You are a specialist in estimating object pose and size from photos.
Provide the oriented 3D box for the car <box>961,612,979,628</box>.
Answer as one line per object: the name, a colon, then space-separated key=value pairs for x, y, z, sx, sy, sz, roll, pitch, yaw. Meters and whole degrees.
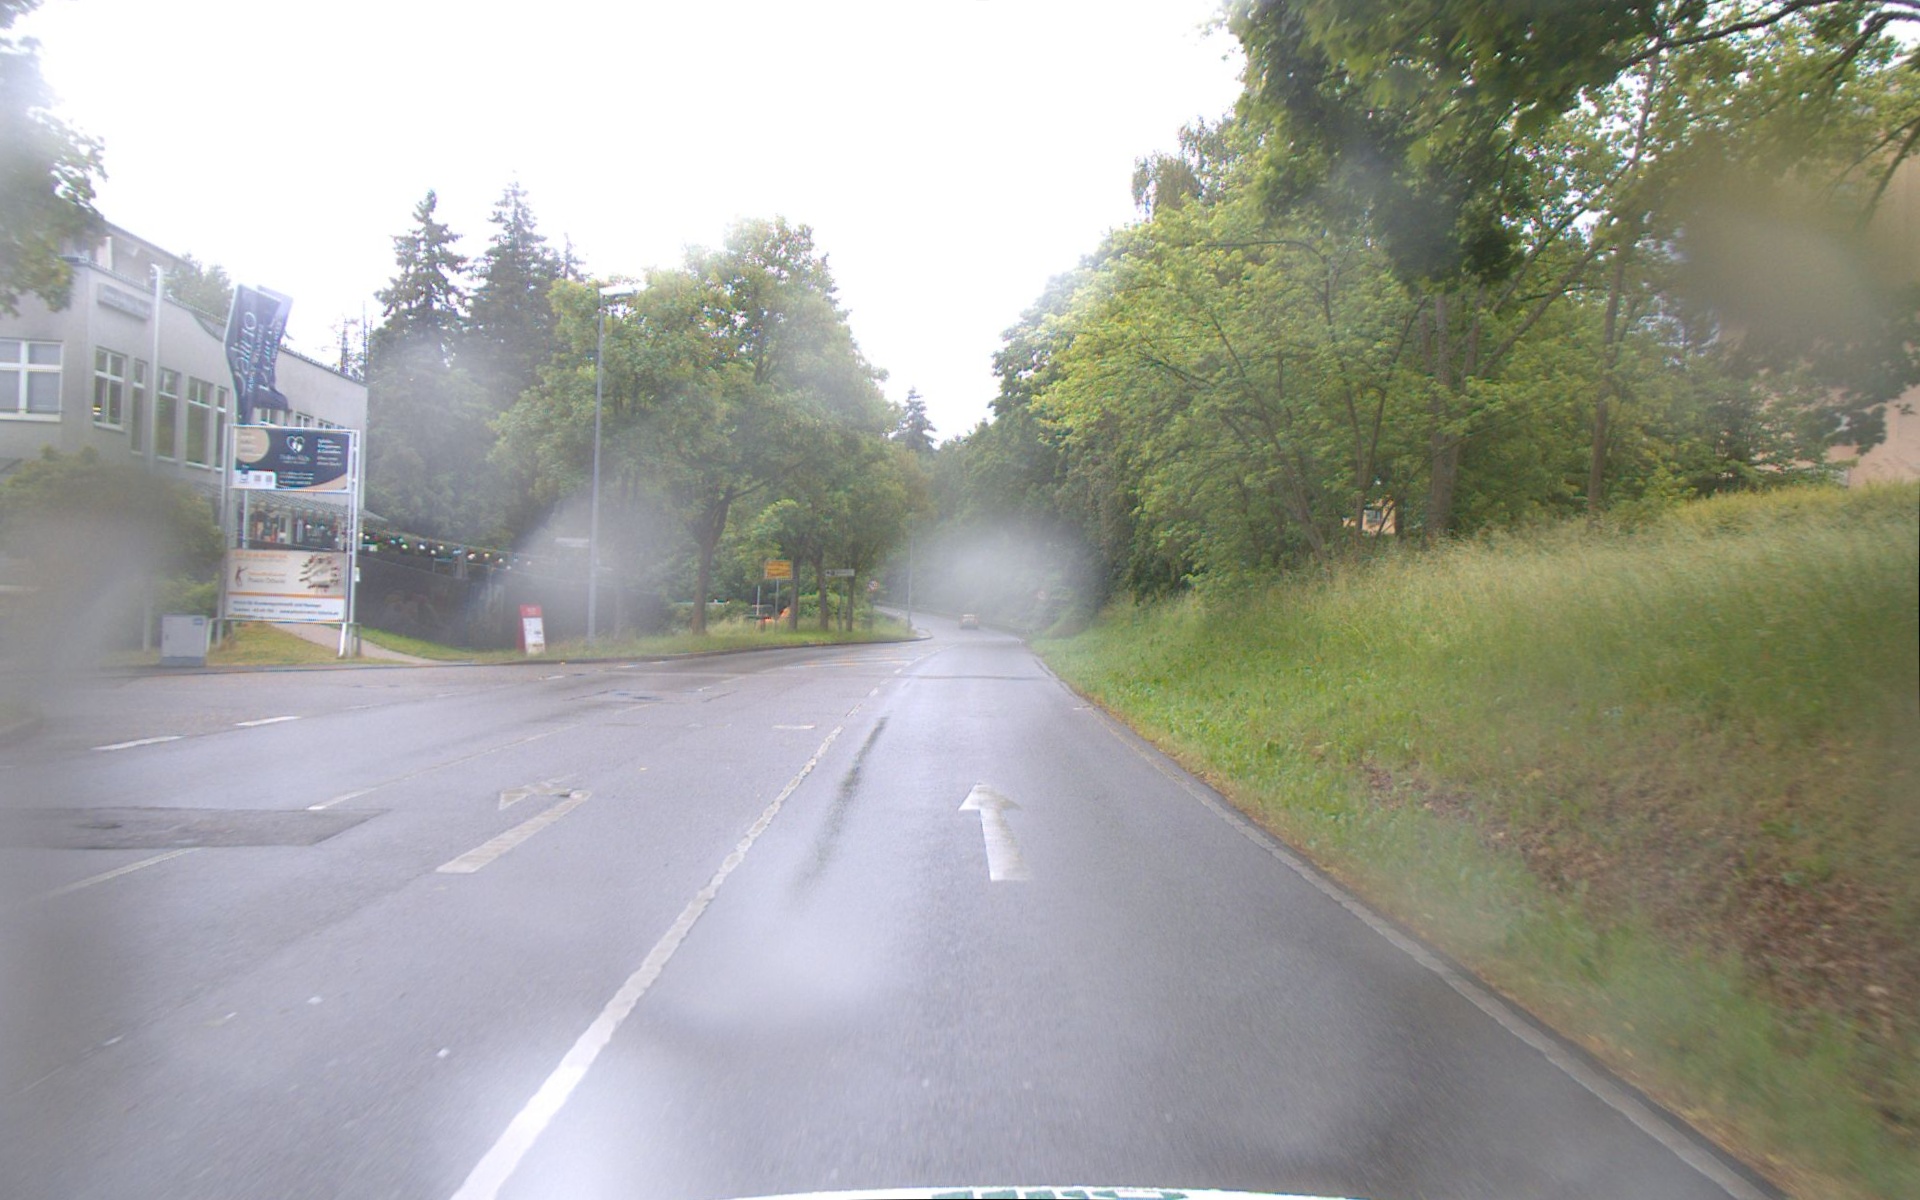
car: x=1.017 y=2.054 z=168.559 sx=1.701 sy=1.537 sz=3.999 roll=-1 pitch=0 yaw=-1

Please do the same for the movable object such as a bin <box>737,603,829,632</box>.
movable object such as a bin: x=-12.092 y=1.206 z=113.645 sx=1.813 sy=1.941 sz=7.887 roll=0 pitch=-1 yaw=32
